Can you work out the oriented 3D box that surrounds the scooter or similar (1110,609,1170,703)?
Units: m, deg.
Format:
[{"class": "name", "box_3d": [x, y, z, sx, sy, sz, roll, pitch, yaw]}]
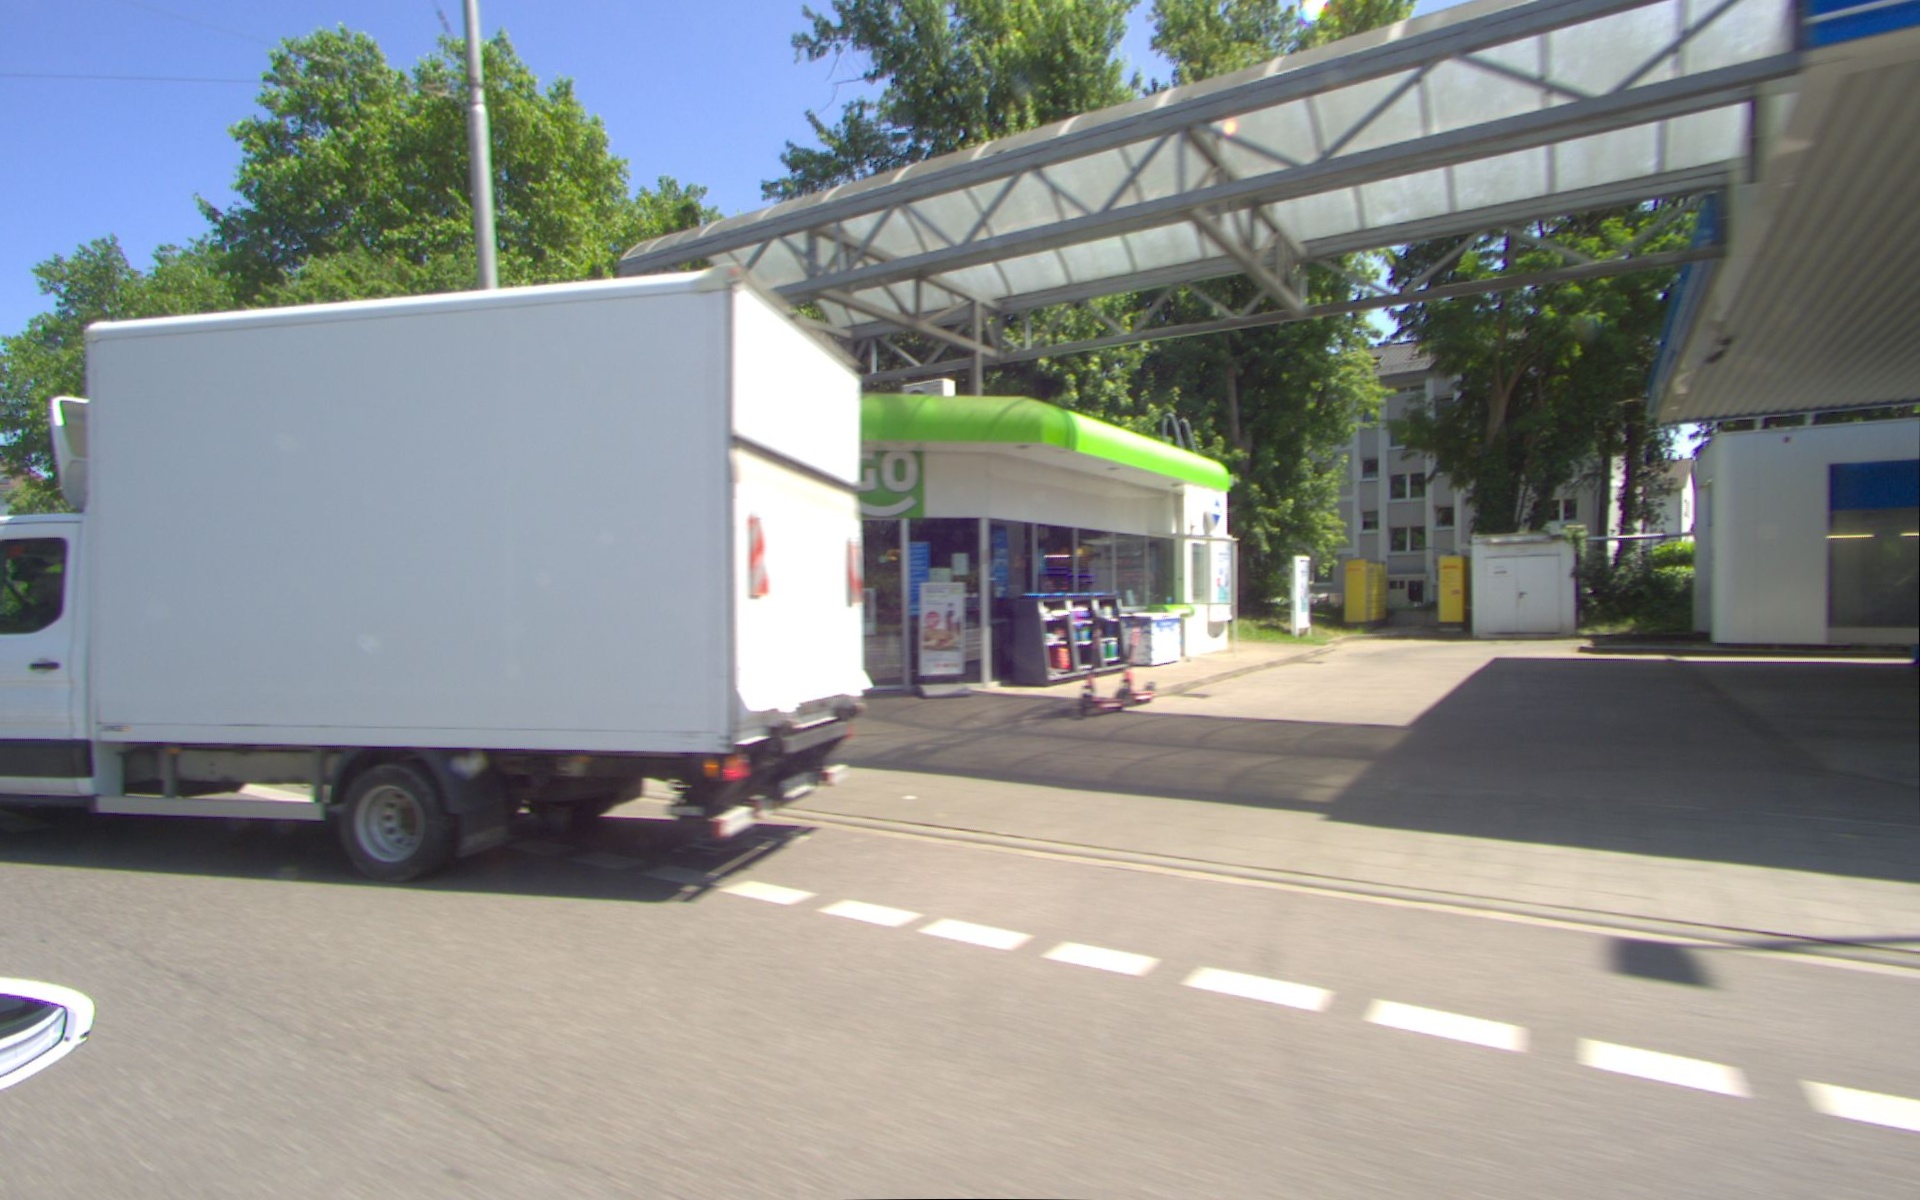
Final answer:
[{"class": "scooter or similar", "box_3d": [2.418, 0.723, 13.385, 0.378, 1.192, 1.132, 0, 1, 33]}]

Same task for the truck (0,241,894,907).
[{"class": "truck", "box_3d": [-4.520, -0.093, 7.199, 7.686, 3.437, 2.425, 0, 1, 13]}]

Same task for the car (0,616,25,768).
[{"class": "car", "box_3d": [-11.466, 0.913, 10.264, 4.356, 1.469, 1.791, -1, 0, 34]}]
